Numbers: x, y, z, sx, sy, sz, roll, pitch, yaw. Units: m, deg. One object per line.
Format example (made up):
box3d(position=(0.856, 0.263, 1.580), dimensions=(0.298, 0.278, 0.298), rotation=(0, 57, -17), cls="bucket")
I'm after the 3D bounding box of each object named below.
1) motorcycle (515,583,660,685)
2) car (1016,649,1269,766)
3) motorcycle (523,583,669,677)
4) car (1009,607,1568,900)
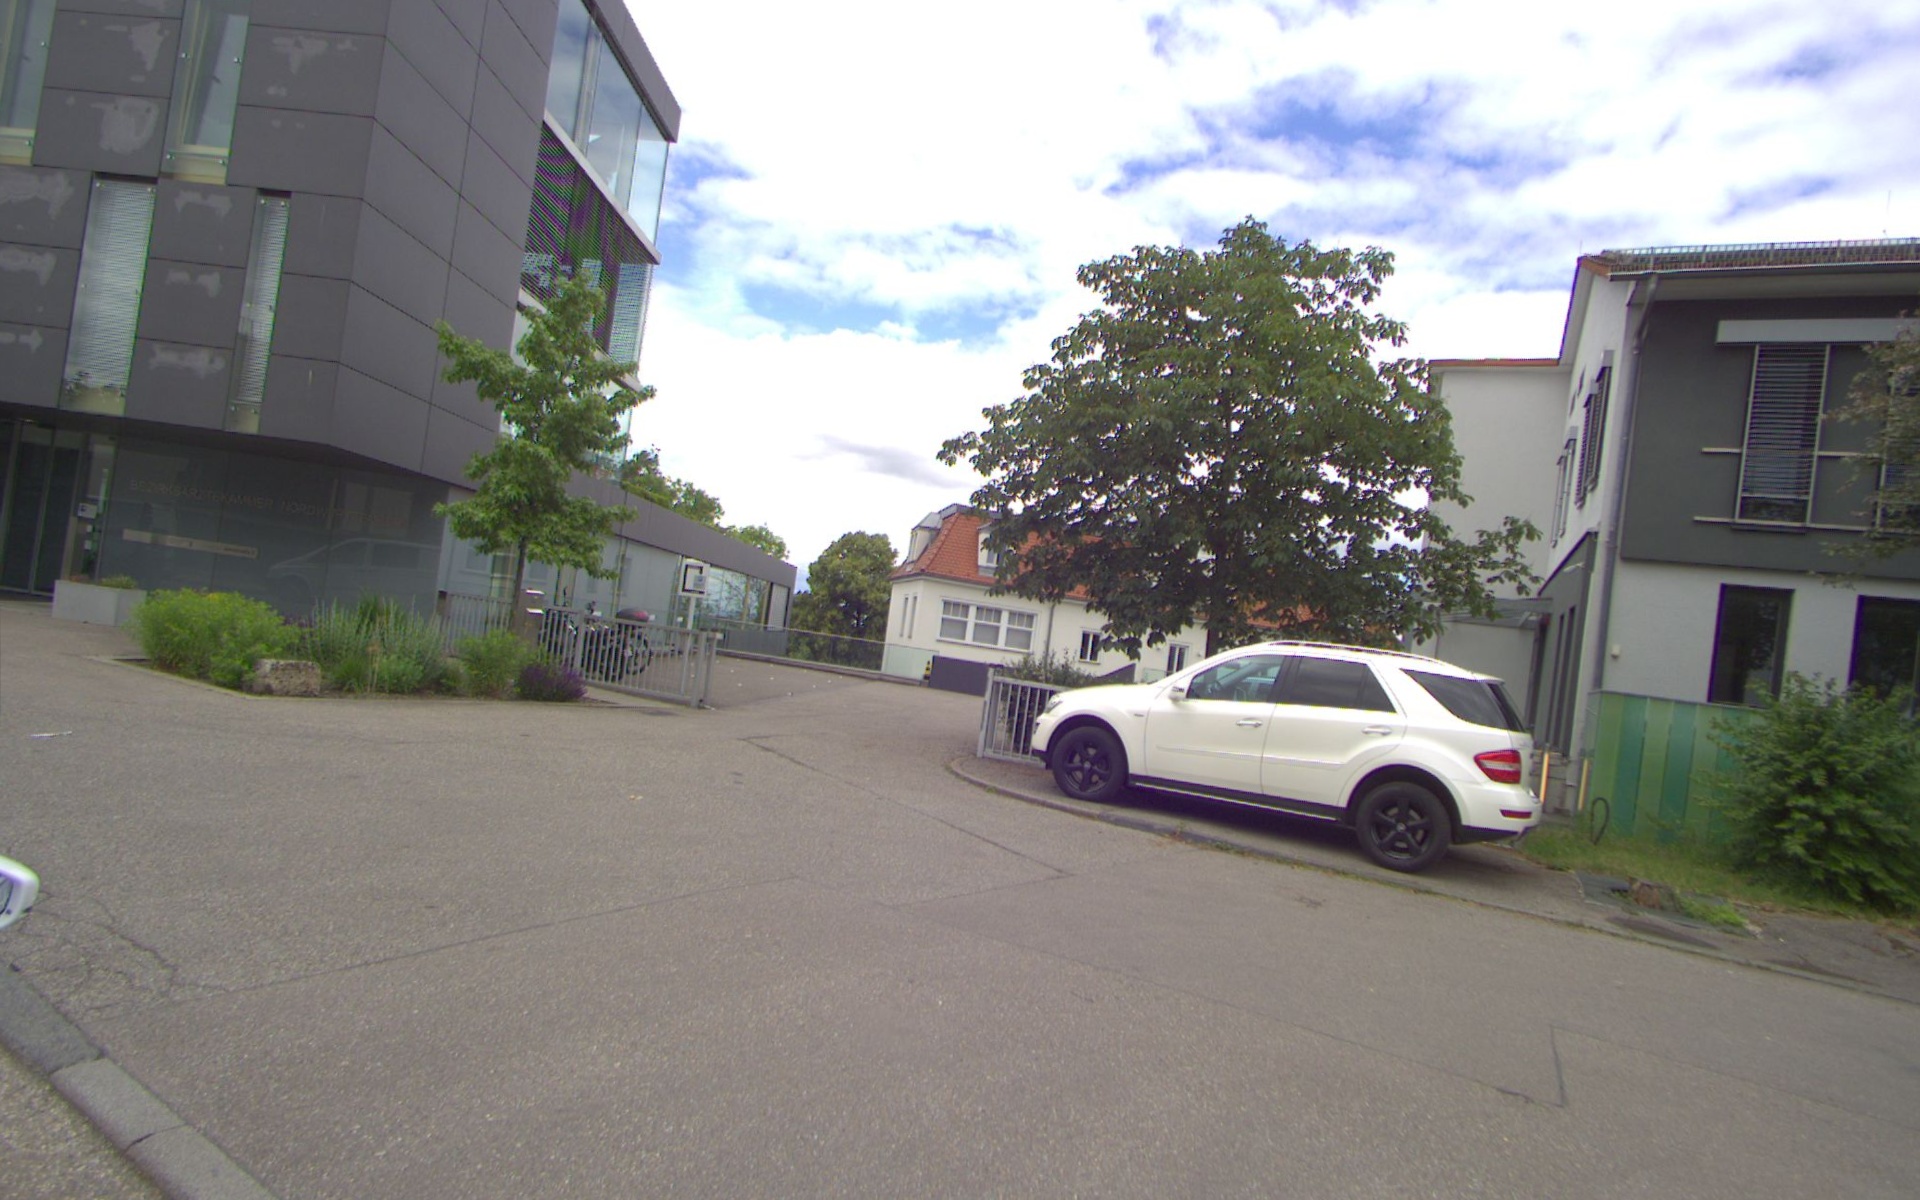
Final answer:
box3d(position=(-6.200, 0.568, 16.773), dimensions=(2.084, 1.409, 0.671), rotation=(7, -1, 13), cls="motorcycle")
box3d(position=(3.305, 1.898, 18.317), dimensions=(4.142, 1.501, 1.621), rotation=(5, -2, 25), cls="car")
box3d(position=(-6.779, 0.563, 18.752), dimensions=(2.416, 1.409, 0.671), rotation=(7, -1, 13), cls="motorcycle")
box3d(position=(3.033, 1.273, 9.685), dimensions=(4.643, 1.778, 1.856), rotation=(7, -2, 31), cls="car")
